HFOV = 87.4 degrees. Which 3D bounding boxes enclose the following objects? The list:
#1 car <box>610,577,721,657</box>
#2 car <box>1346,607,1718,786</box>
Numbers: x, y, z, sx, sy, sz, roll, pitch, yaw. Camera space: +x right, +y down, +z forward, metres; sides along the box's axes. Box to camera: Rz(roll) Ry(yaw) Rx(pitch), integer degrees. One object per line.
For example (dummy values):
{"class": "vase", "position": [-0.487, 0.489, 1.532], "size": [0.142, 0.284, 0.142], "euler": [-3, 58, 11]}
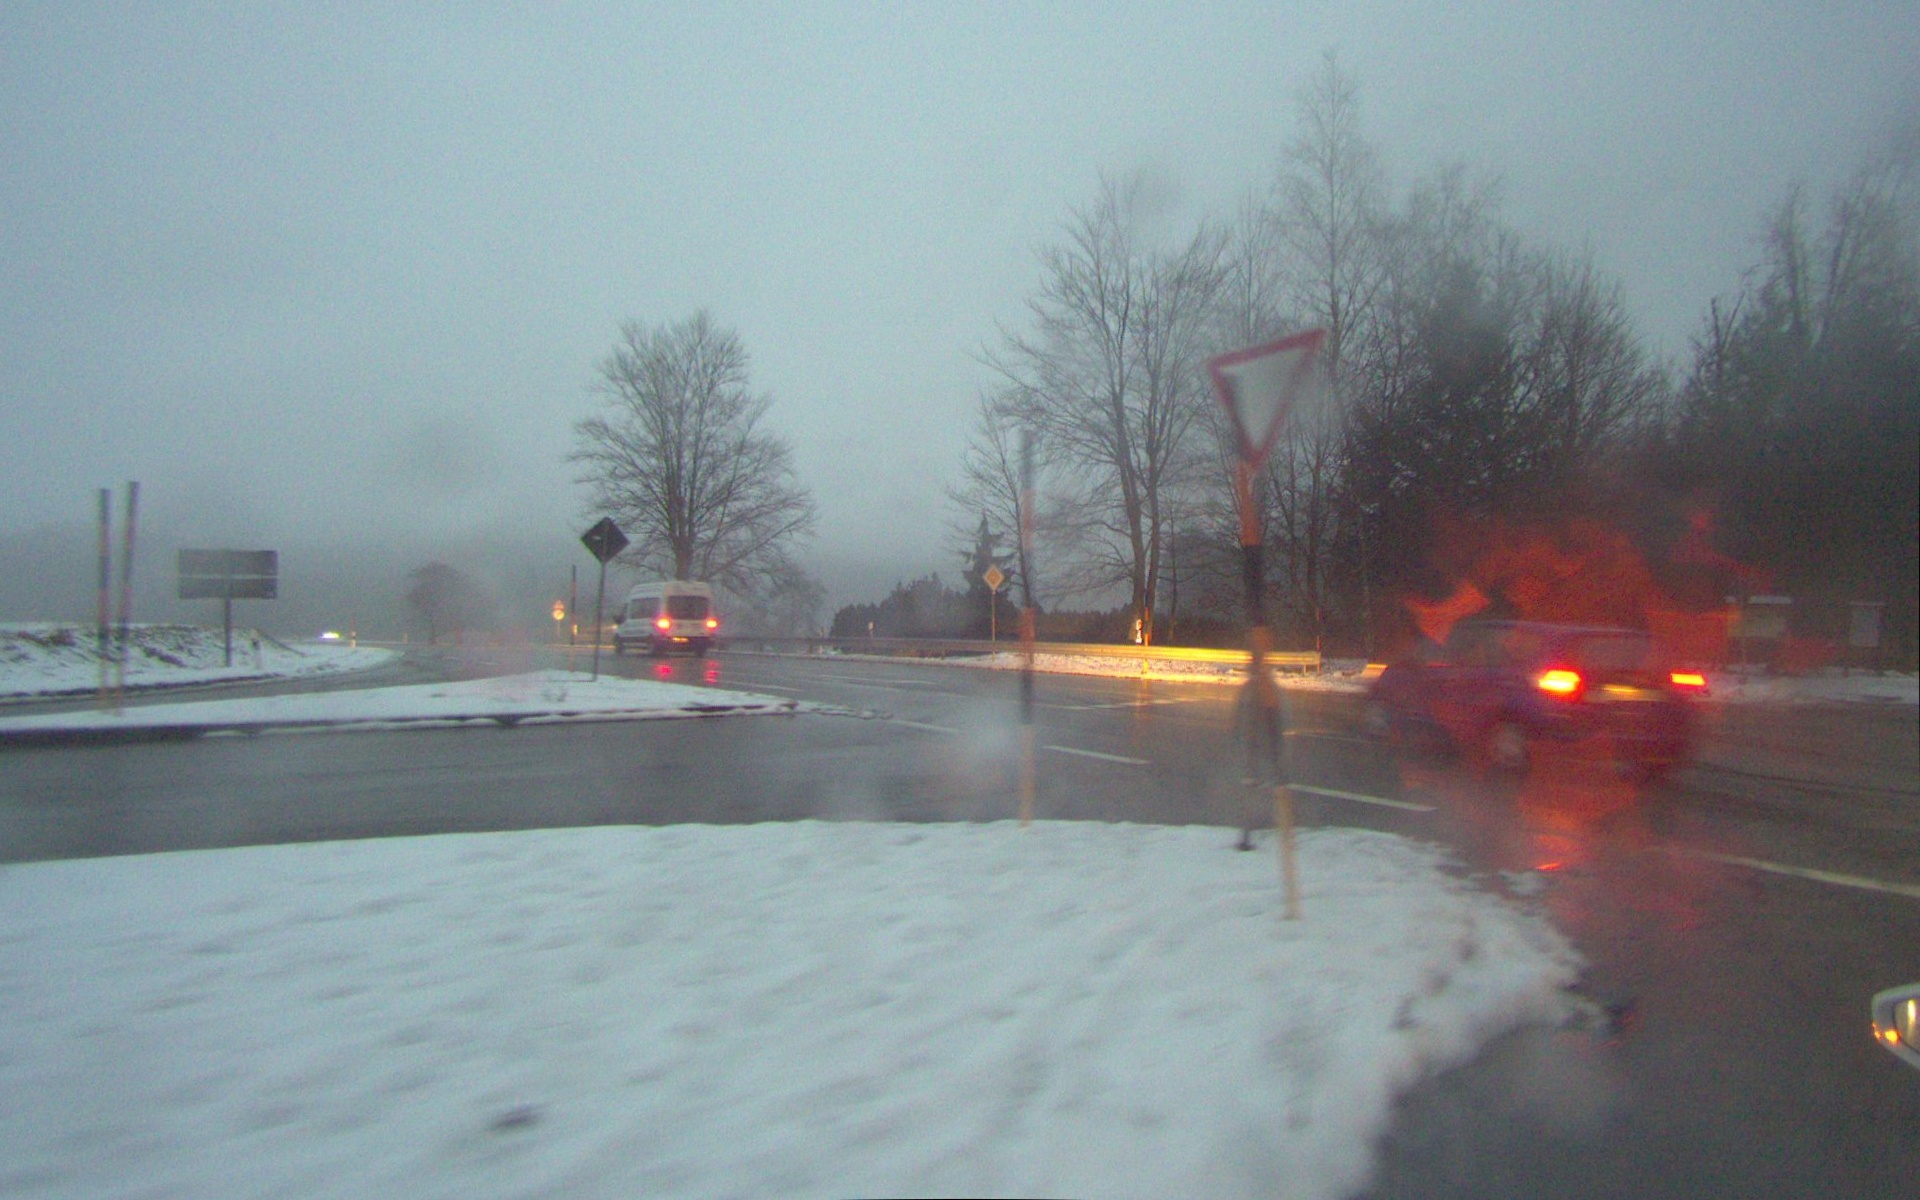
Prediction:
{"class": "car", "position": [-11.128, 0.575, 37.642], "size": [2.133, 2.731, 5.470], "euler": [3, 0, -37]}
{"class": "car", "position": [5.895, 0.893, 10.956], "size": [1.665, 1.572, 3.854], "euler": [2, -1, -3]}
